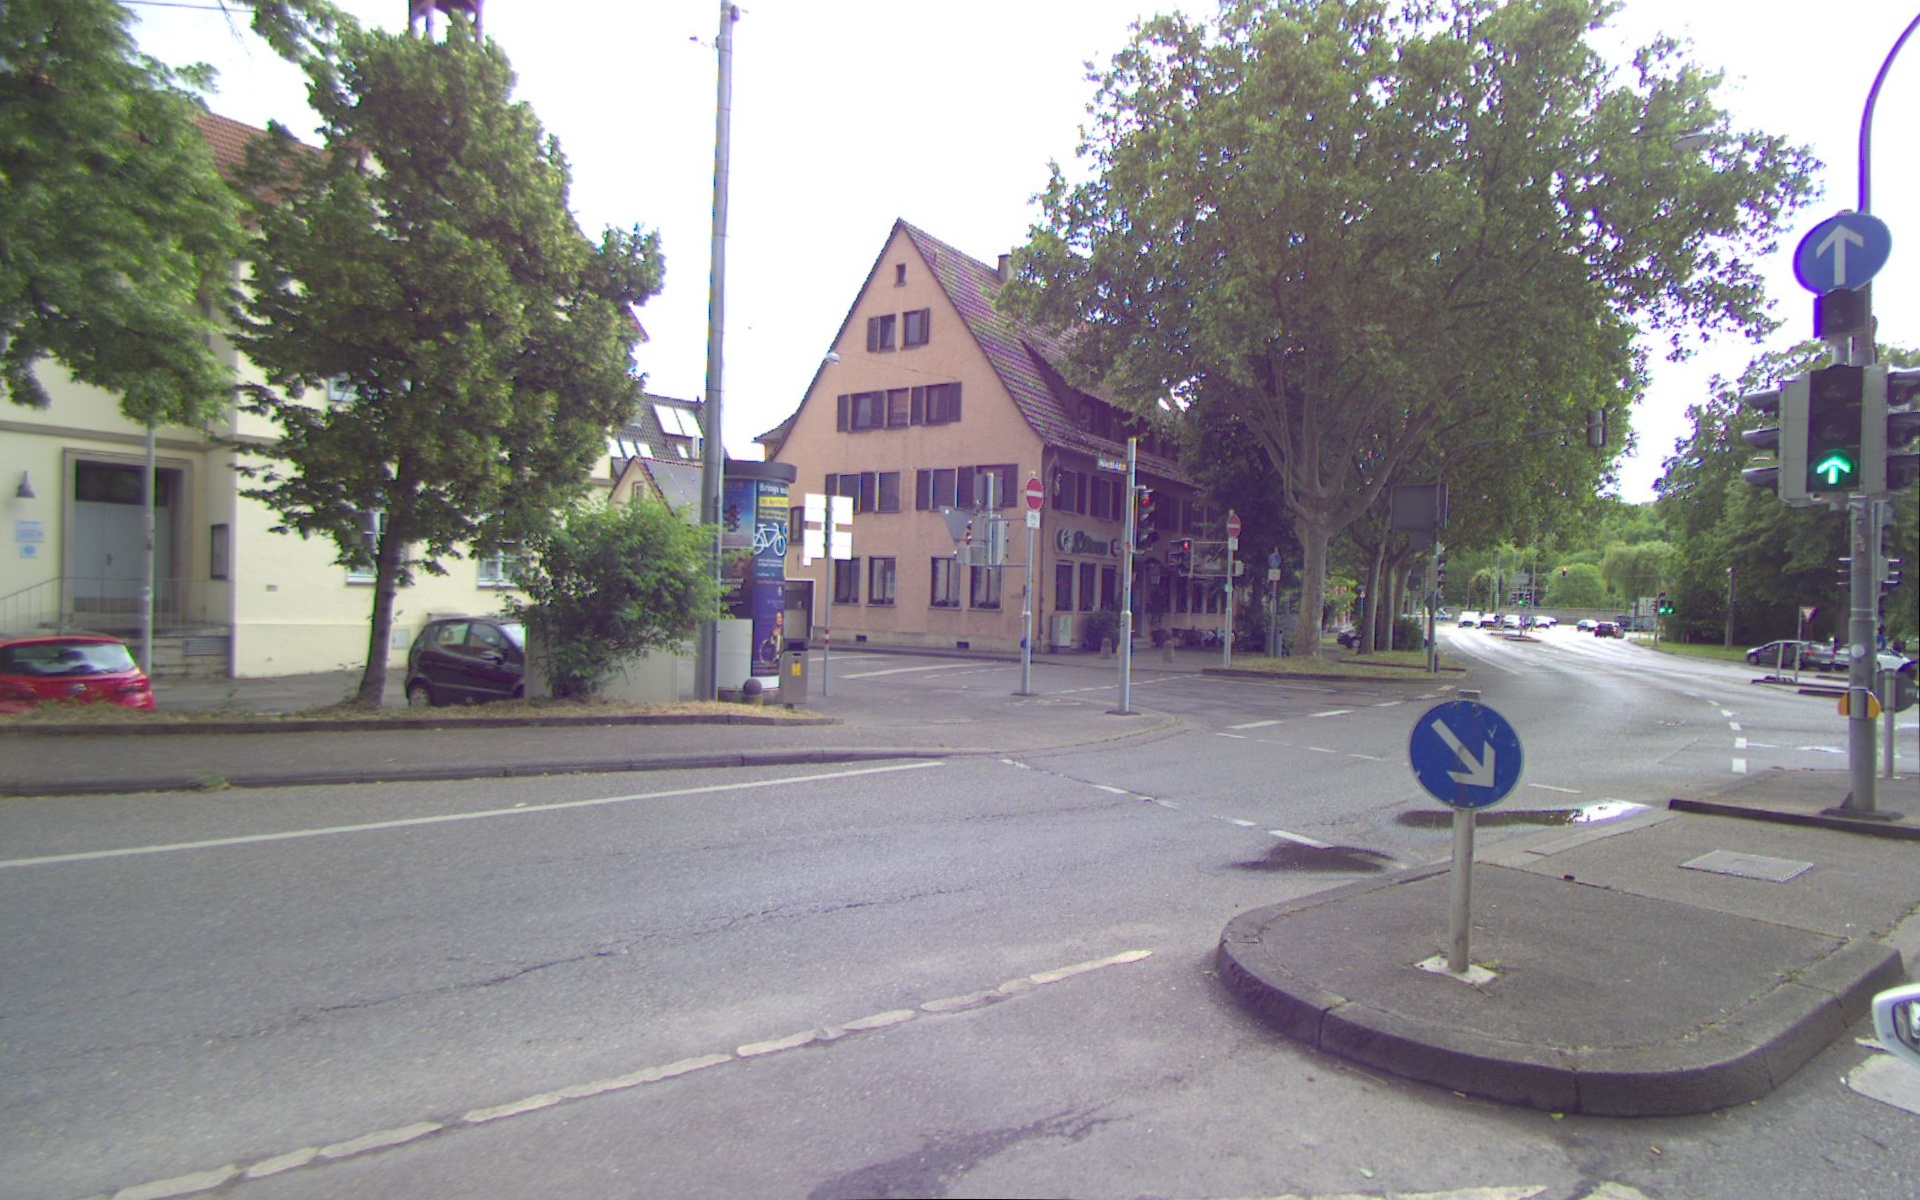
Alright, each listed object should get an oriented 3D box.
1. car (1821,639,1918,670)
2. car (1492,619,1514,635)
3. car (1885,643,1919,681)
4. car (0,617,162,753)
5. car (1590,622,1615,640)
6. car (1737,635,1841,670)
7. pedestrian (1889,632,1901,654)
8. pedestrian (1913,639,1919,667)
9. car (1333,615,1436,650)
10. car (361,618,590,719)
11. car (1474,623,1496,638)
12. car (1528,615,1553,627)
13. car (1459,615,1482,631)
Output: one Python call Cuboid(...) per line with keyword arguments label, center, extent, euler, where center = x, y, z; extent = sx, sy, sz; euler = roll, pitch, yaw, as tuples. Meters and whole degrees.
Cuboid(label="car", center=(46.812, 2.803, 51.695), extent=(4.193, 1.399, 1.758), euler=(2, 1, -17))
Cuboid(label="car", center=(65.975, 3.259, 121.992), extent=(1.885, 1.787, 4.738), euler=(2, 1, 34))
Cuboid(label="car", center=(38.651, 2.512, 39.342), extent=(1.542, 1.423, 3.494), euler=(2, 1, 0))
Cuboid(label="car", center=(-11.694, 0.958, 12.463), extent=(3.565, 1.371, 1.597), euler=(2, -1, 30))
Cuboid(label="car", center=(61.179, 2.954, 95.721), extent=(1.796, 1.529, 4.565), euler=(2, -1, 30))
Cuboid(label="car", center=(43.231, 2.691, 52.485), extent=(1.701, 1.448, 4.107), euler=(2, 2, -7))
Cuboid(label="pedestrian", center=(66.369, 3.029, 71.313), extent=(0.504, 1.552, 0.774), euler=(3, 0, 39))
Cuboid(label="pedestrian", center=(55.748, 3.076, 58.086), extent=(0.673, 1.572, 0.741), euler=(2, 1, 29))
Cuboid(label="car", center=(24.150, 1.830, 57.319), extent=(5.137, 1.957, 2.085), euler=(0, 0, 12))
Cuboid(label="car", center=(-7.632, 1.015, 15.816), extent=(3.336, 1.327, 1.482), euler=(2, 0, 26))
Cuboid(label="car", center=(59.073, 3.390, 112.929), extent=(1.772, 1.608, 4.402), euler=(0, 0, 33))
Cuboid(label="car", center=(84.195, 3.017, 145.684), extent=(3.017, 1.258, 1.429), euler=(4, 15, 40))
Cuboid(label="car", center=(49.356, 2.215, 97.143), extent=(1.737, 1.486, 4.014), euler=(1, -1, 31))
